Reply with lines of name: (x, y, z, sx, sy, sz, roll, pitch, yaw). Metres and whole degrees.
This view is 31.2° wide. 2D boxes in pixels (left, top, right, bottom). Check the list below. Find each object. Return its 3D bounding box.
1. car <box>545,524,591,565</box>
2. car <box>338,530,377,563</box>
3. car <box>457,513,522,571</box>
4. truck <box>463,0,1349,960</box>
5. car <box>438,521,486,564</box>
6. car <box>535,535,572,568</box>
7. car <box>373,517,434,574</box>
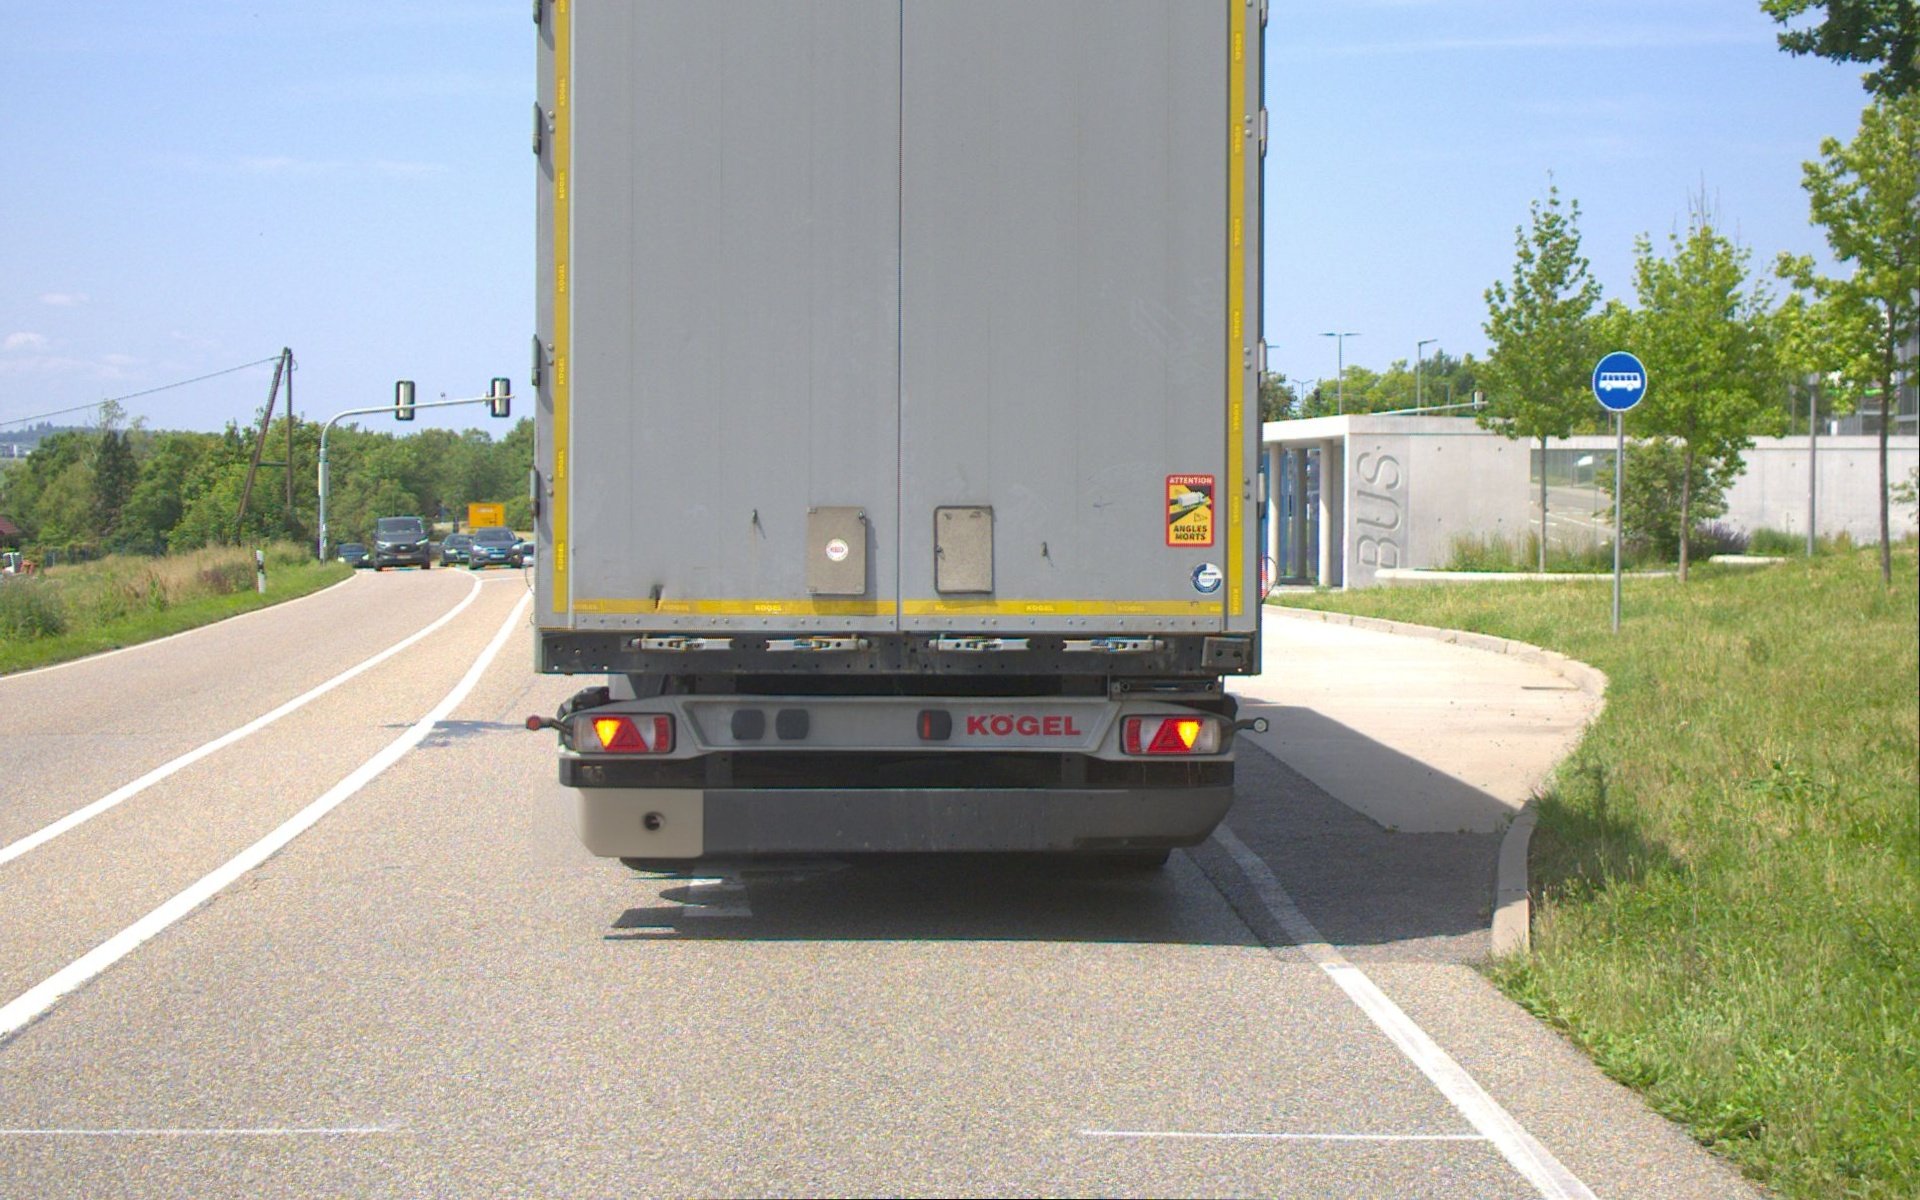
car: (-20.364, -2.893, 178.622, 2.171, 2.006, 4.527, -2, 1, -4)
car: (-33.884, -3.025, 193.427, 1.993, 1.781, 4.001, -2, 1, -8)
car: (-16.755, -2.085, 122.530, 1.993, 1.943, 4.504, -2, 1, -5)
truck: (-0.316, -1.125, 15.867, 2.907, 4.394, 8.861, 1, 1, -2)
car: (-22.276, -2.569, 153.834, 1.993, 1.809, 4.297, -2, 2, -7)
car: (-23.573, -2.823, 199.388, 1.892, 1.770, 4.387, -2, 1, -4)
car: (-20.620, -2.044, 127.547, 1.993, 1.971, 5.280, -2, 2, -7)
